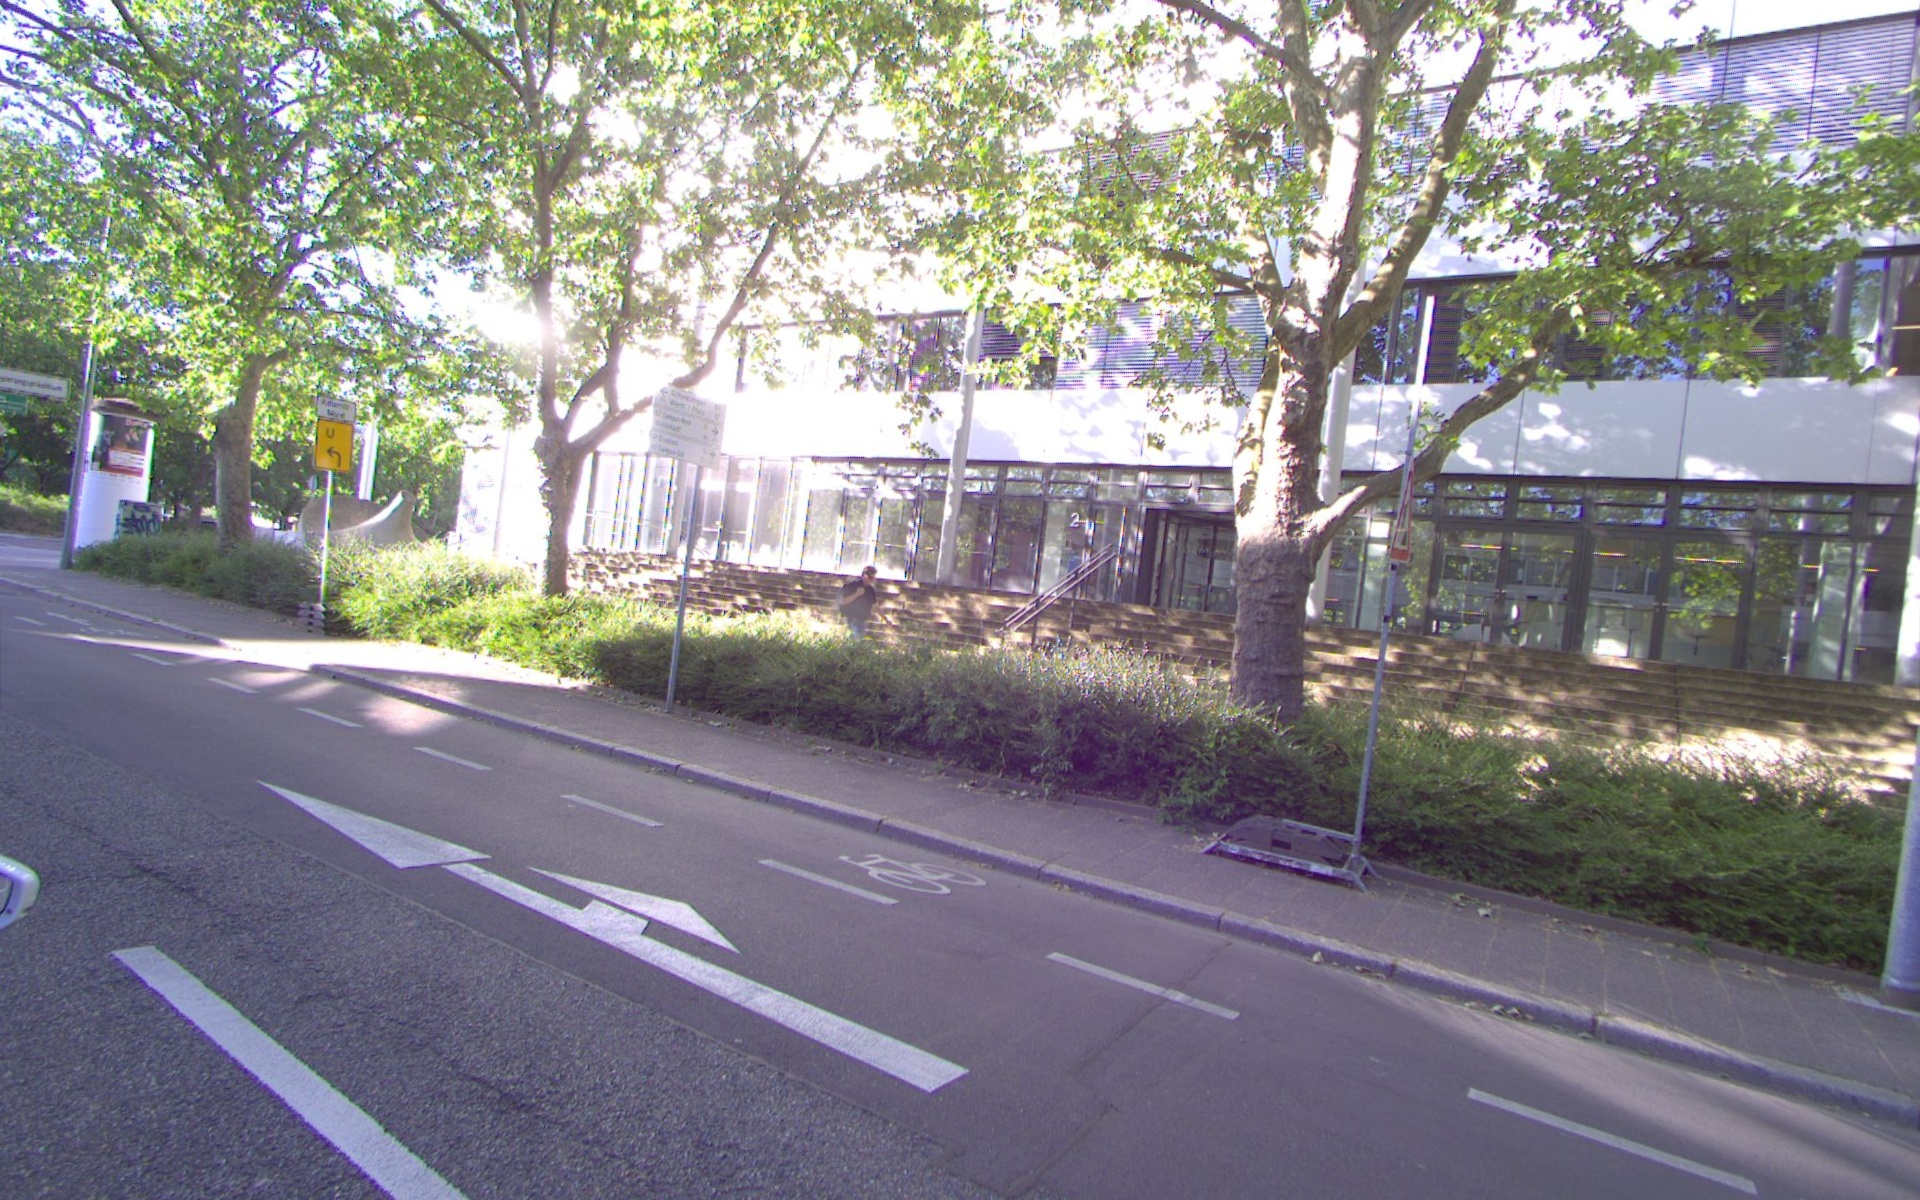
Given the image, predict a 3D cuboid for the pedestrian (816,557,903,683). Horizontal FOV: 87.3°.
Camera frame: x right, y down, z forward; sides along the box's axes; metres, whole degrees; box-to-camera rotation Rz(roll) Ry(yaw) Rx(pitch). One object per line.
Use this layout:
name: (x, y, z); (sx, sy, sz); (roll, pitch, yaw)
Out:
pedestrian: (-1.547, 0.318, 15.526); (0.848, 1.802, 0.785); (7, 0, 30)
